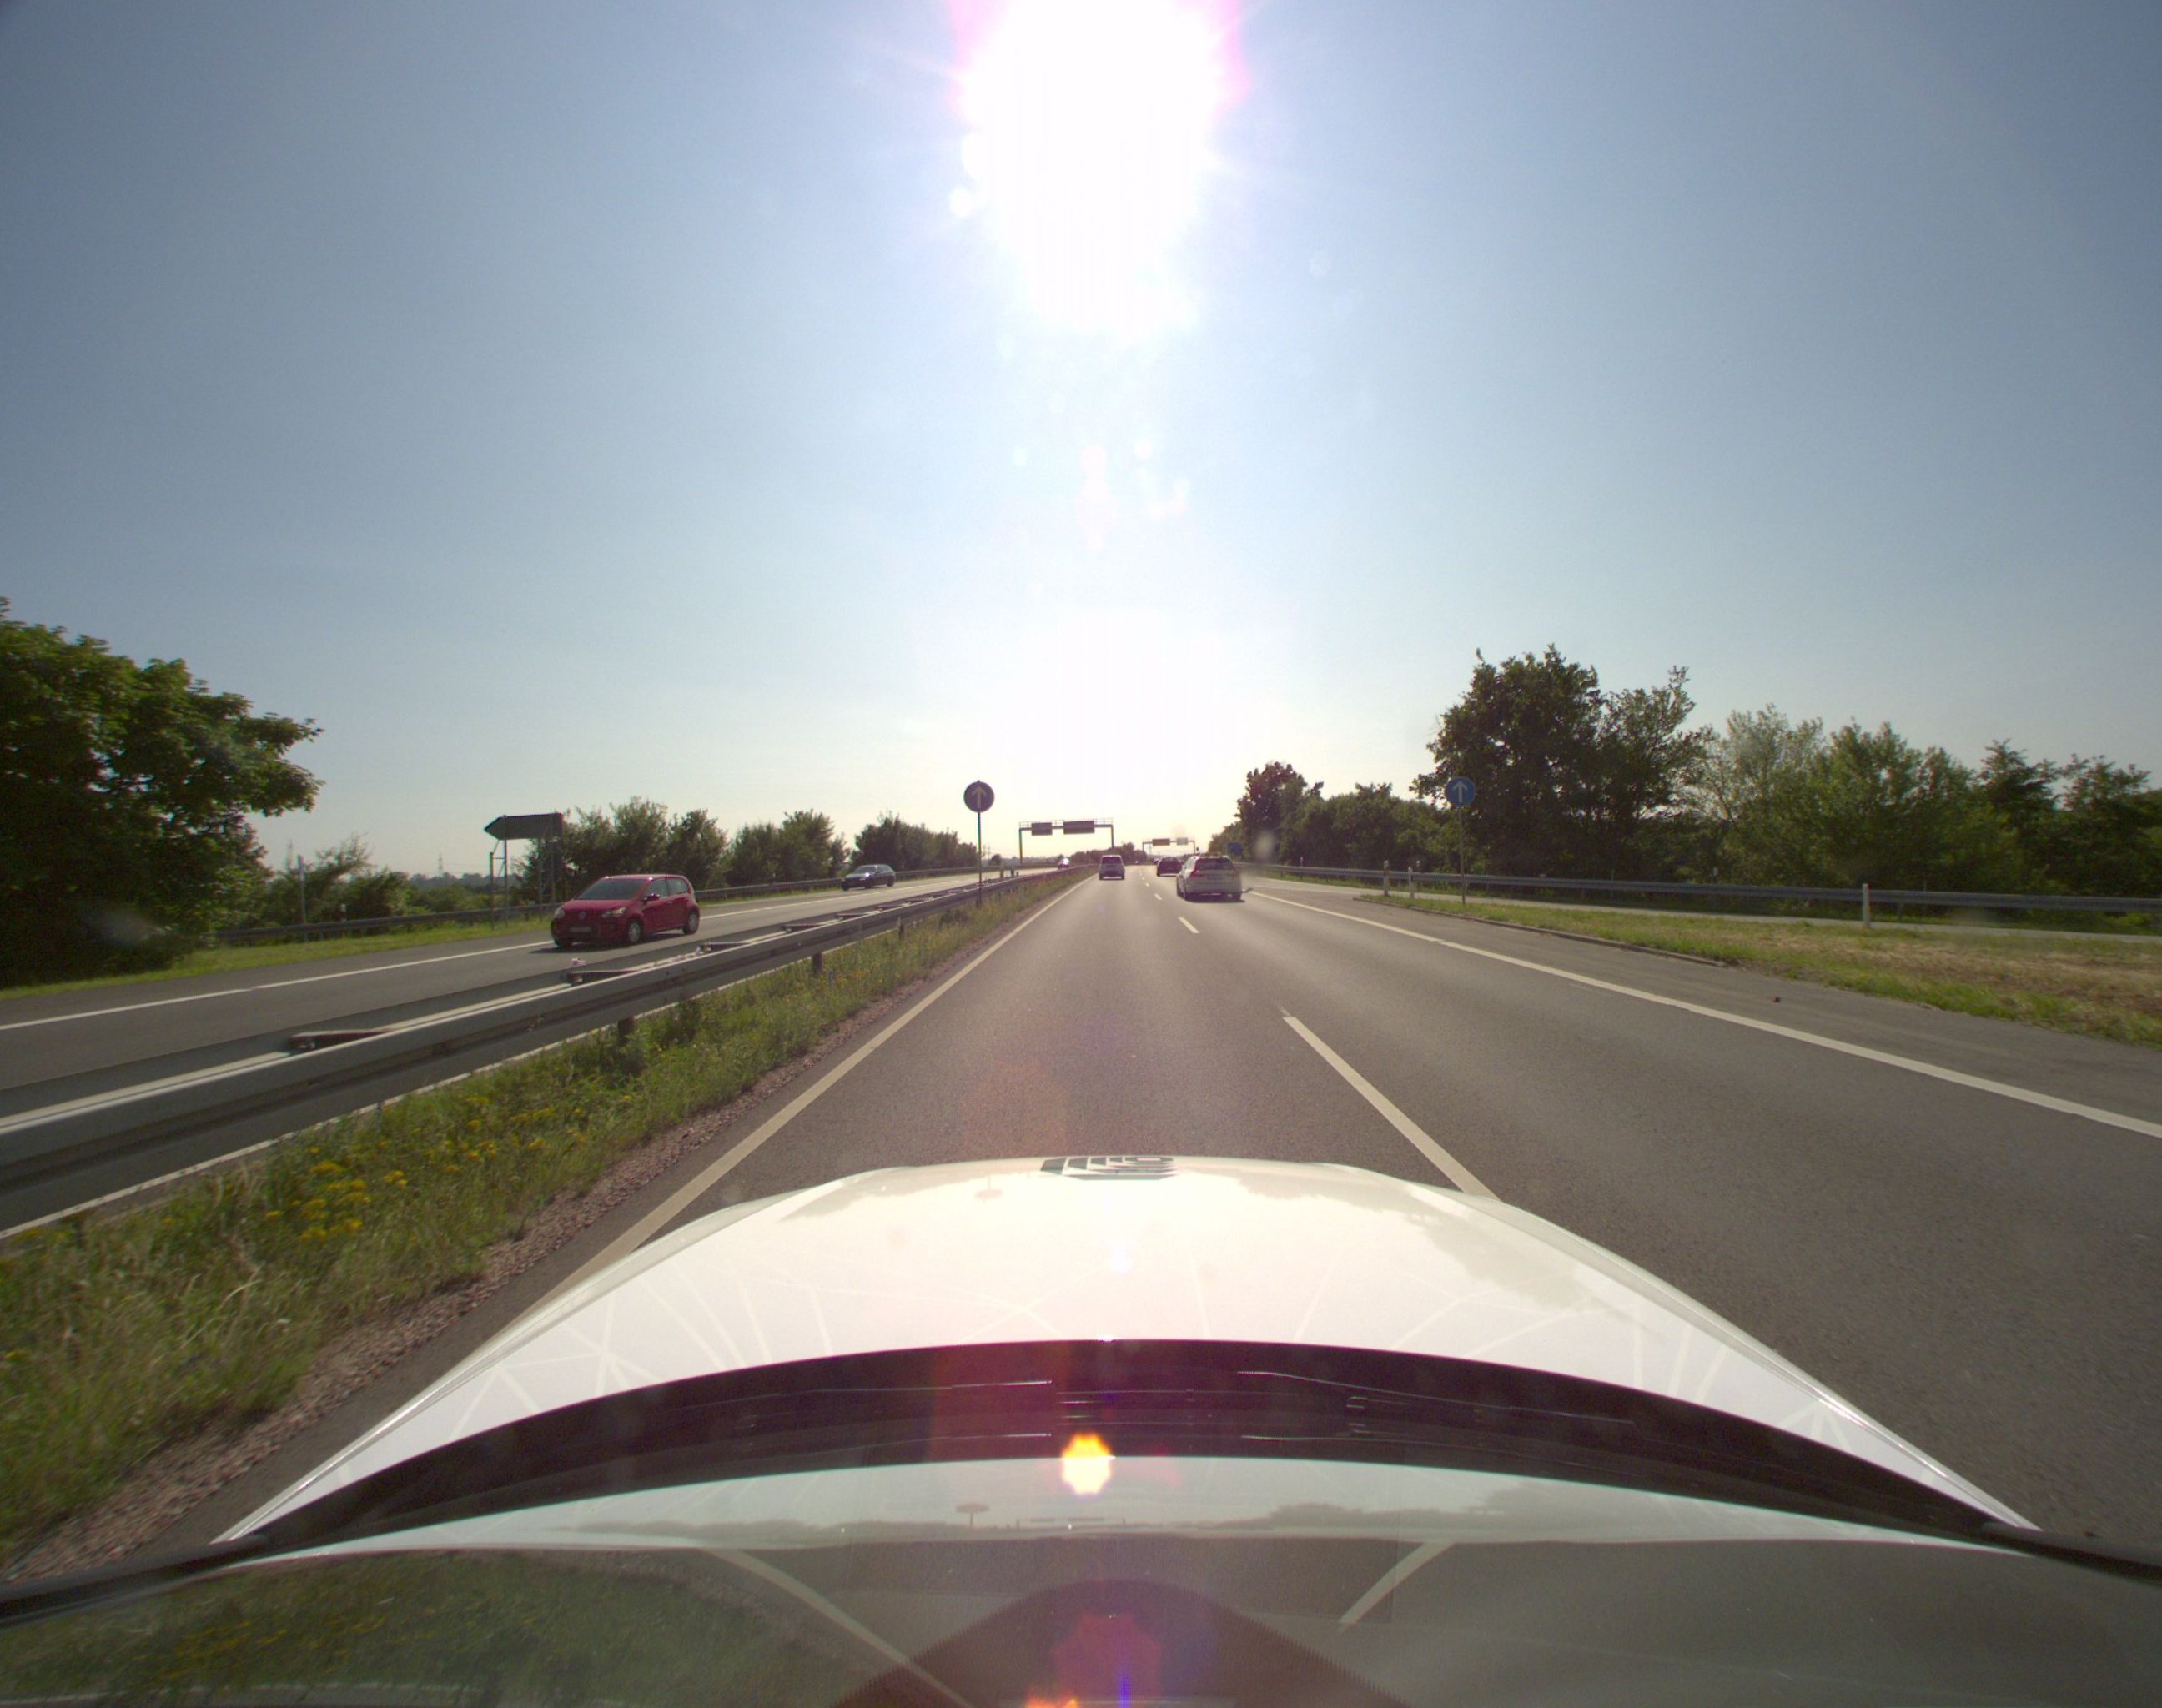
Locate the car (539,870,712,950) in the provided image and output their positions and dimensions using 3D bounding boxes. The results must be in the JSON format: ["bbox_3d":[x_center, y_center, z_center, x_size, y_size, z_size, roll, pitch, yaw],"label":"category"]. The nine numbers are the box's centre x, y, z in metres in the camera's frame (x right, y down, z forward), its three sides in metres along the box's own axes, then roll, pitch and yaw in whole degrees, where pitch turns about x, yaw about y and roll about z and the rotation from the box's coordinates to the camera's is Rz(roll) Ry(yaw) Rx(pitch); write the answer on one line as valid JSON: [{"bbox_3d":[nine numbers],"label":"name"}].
[{"bbox_3d":[-10.106,1.172,18.430,1.622,1.457,3.770,-2,1,2],"label":"car"}]

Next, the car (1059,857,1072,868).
[{"bbox_3d":[-2.375,1.331,126.434,1.636,1.575,4.267,0,-1,2],"label":"car"}]

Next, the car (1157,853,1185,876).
[{"bbox_3d":[6.398,0.757,58.100,1.785,1.543,3.674,-1,-1,3],"label":"car"}]

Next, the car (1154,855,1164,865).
[{"bbox_3d":[16.624,1.226,174.086,1.984,2.014,4.006,0,-1,5],"label":"car"}]

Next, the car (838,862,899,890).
[{"bbox_3d":[-13.342,1.351,51.433,1.582,1.494,4.831,-6,-1,12],"label":"car"}]

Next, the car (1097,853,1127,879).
[{"bbox_3d":[2.049,0.819,52.726,1.786,1.503,4.045,-3,-2,3],"label":"car"}]

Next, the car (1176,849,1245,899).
[{"bbox_3d":[4.366,0.651,27.943,1.950,1.601,4.111,0,-1,4],"label":"car"}]
